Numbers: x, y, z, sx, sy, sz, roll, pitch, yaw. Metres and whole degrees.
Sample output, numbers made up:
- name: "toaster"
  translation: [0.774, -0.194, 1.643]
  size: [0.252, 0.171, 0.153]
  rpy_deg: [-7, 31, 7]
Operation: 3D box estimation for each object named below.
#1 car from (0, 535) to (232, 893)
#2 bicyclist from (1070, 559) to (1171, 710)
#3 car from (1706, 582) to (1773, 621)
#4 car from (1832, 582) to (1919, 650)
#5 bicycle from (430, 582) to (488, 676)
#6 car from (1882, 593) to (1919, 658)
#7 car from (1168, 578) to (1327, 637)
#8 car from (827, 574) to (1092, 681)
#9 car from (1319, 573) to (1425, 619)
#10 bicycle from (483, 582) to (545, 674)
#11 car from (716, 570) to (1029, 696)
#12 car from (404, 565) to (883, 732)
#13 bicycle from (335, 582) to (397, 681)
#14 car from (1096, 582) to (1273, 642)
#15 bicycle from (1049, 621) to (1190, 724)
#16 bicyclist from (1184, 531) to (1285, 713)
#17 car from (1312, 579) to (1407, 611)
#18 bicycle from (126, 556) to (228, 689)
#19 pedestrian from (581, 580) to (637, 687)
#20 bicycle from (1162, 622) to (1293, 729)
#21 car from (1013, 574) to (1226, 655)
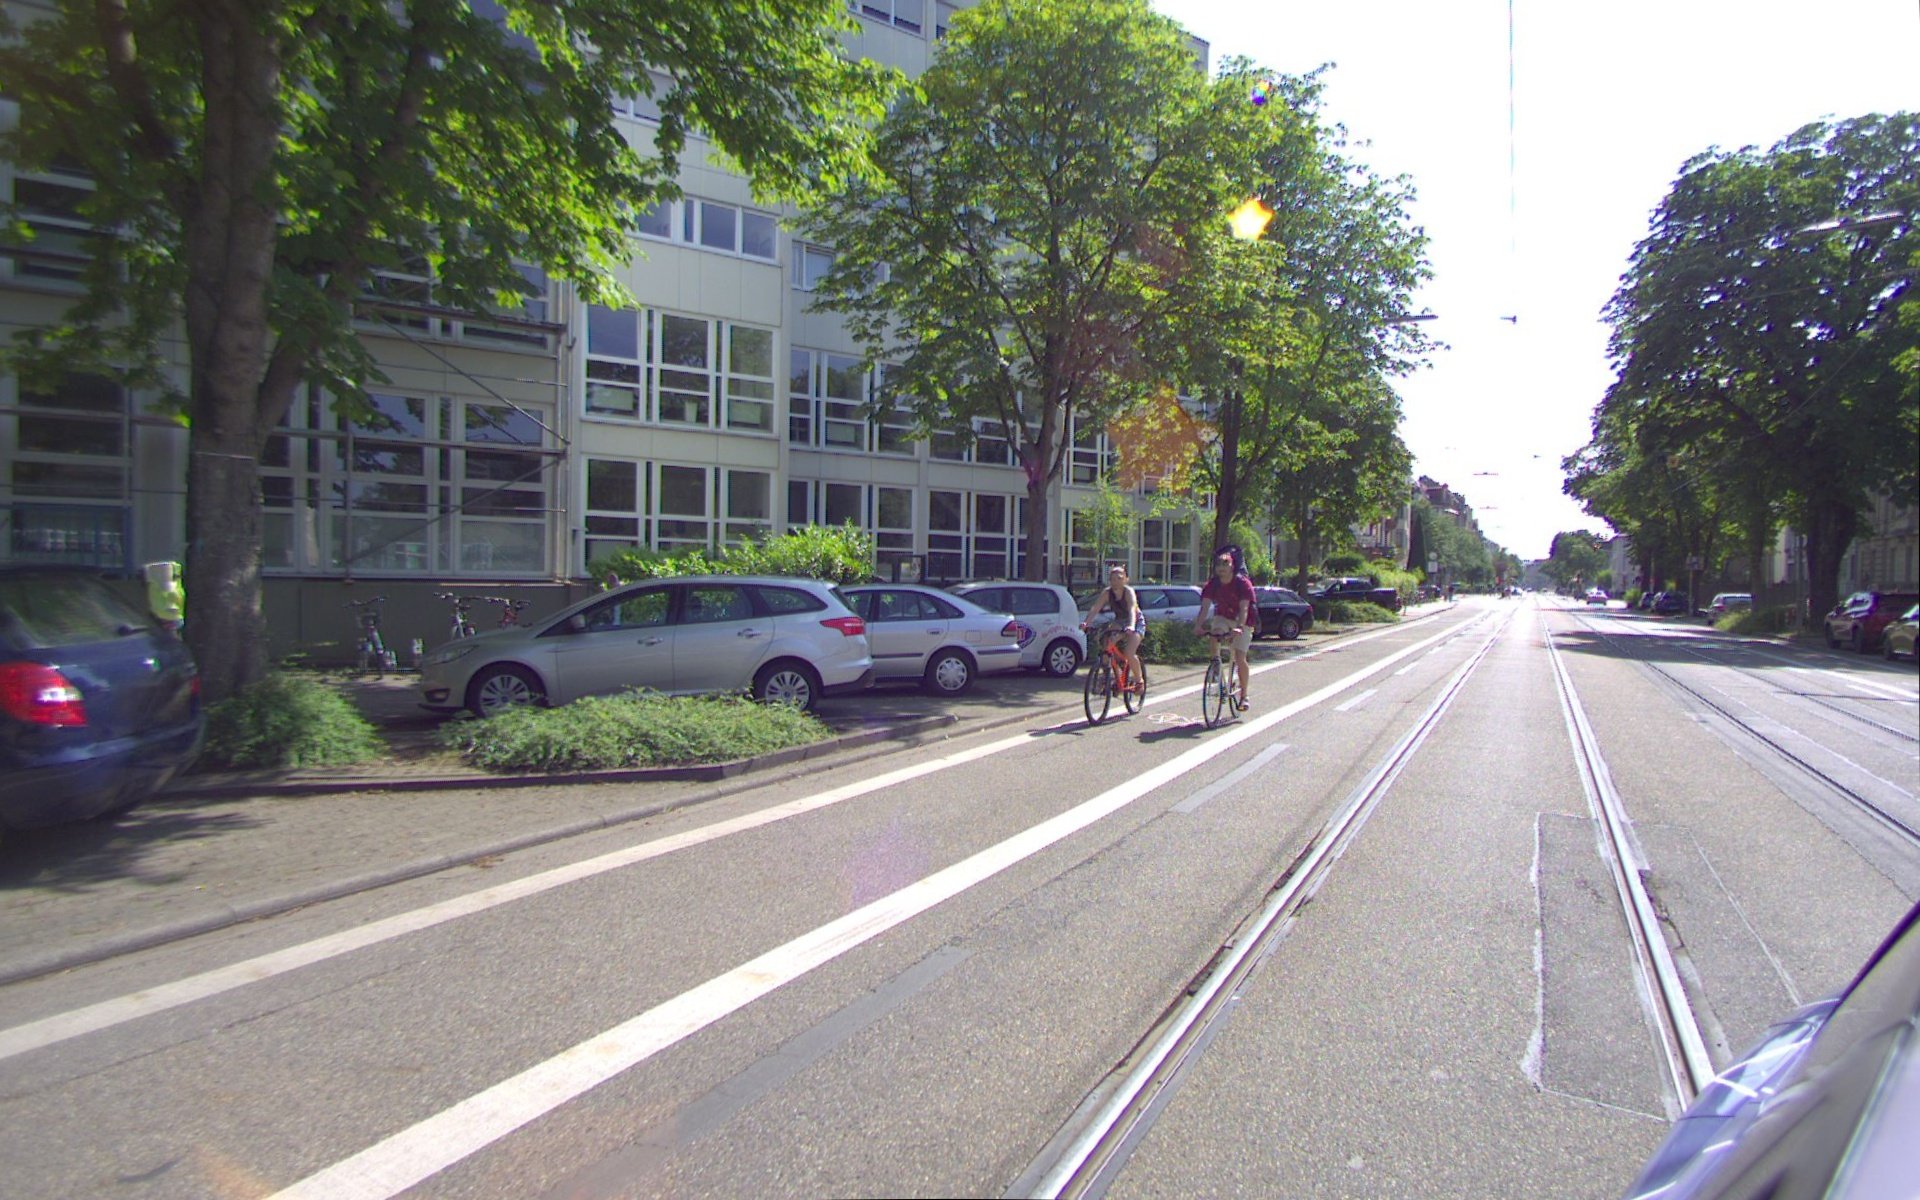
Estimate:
- name: "car"
  translation: [-5.730, 0.466, 4.774]
  size: [3.385, 1.550, 1.580]
  rpy_deg: [0, 1, -15]
- name: "bicyclist"
  translation: [1.751, 0.343, 11.004]
  size: [0.799, 1.562, 0.854]
  rpy_deg: [1, 1, 33]
- name: "car"
  translation: [36.187, 0.034, 47.071]
  size: [1.840, 1.701, 3.960]
  rpy_deg: [1, 1, 29]
- name: "car"
  translation: [25.003, 0.381, 26.988]
  size: [1.840, 1.701, 3.960]
  rpy_deg: [1, 1, 29]
- name: "bicycle"
  translation: [-7.093, 0.366, 14.295]
  size: [0.650, 1.204, 2.093]
  rpy_deg: [0, 1, -29]
- name: "car"
  translation: [22.544, 0.584, 22.688]
  size: [1.840, 1.429, 3.960]
  rpy_deg: [1, 1, 29]
- name: "car"
  translation: [7.740, 0.192, 27.339]
  size: [3.862, 1.504, 1.562]
  rpy_deg: [0, 1, -15]
- name: "car"
  translation: [-0.050, 0.365, 15.817]
  size: [3.862, 1.504, 1.616]
  rpy_deg: [-1, 1, -14]
- name: "car"
  translation: [17.607, -0.194, 43.275]
  size: [3.916, 1.883, 2.004]
  rpy_deg: [0, 1, -22]
- name: "bicycle"
  translation: [-6.480, 0.359, 14.659]
  size: [0.650, 1.204, 2.093]
  rpy_deg: [0, 1, -29]
- name: "car"
  translation: [-1.199, 0.384, 13.274]
  size: [3.862, 1.504, 1.616]
  rpy_deg: [0, 1, -13]
- name: "car"
  translation: [-3.115, 0.423, 10.497]
  size: [4.342, 1.504, 1.788]
  rpy_deg: [0, 1, -15]
- name: "bicycle"
  translation: [-7.978, 0.377, 13.659]
  size: [0.650, 1.204, 2.093]
  rpy_deg: [0, 1, -29]
- name: "car"
  translation: [5.399, 0.272, 24.417]
  size: [3.862, 1.374, 1.562]
  rpy_deg: [0, 1, -15]
- name: "bicycle"
  translation: [1.820, 0.746, 11.195]
  size: [0.675, 0.928, 2.293]
  rpy_deg: [1, 1, 33]
- name: "bicyclist"
  translation: [2.922, 0.207, 10.752]
  size: [0.799, 1.823, 0.854]
  rpy_deg: [1, 1, 33]
- name: "car"
  translation: [19.659, -0.264, 49.902]
  size: [3.916, 1.527, 2.004]
  rpy_deg: [0, 1, -15]
- name: "bicycle"
  translation: [-9.461, 0.224, 12.294]
  size: [0.650, 1.471, 2.093]
  rpy_deg: [0, 1, -29]
- name: "pedestrian"
  translation: [-4.982, 0.459, 14.377]
  size: [0.421, 1.479, 0.614]
  rpy_deg: [1, 1, 34]
- name: "bicycle"
  translation: [2.902, 0.743, 10.780]
  size: [0.675, 0.928, 2.293]
  rpy_deg: [1, 1, 33]
- name: "car"
  translation: [3.408, 0.275, 21.669]
  size: [4.253, 1.624, 1.562]
  rpy_deg: [0, 0, -18]
